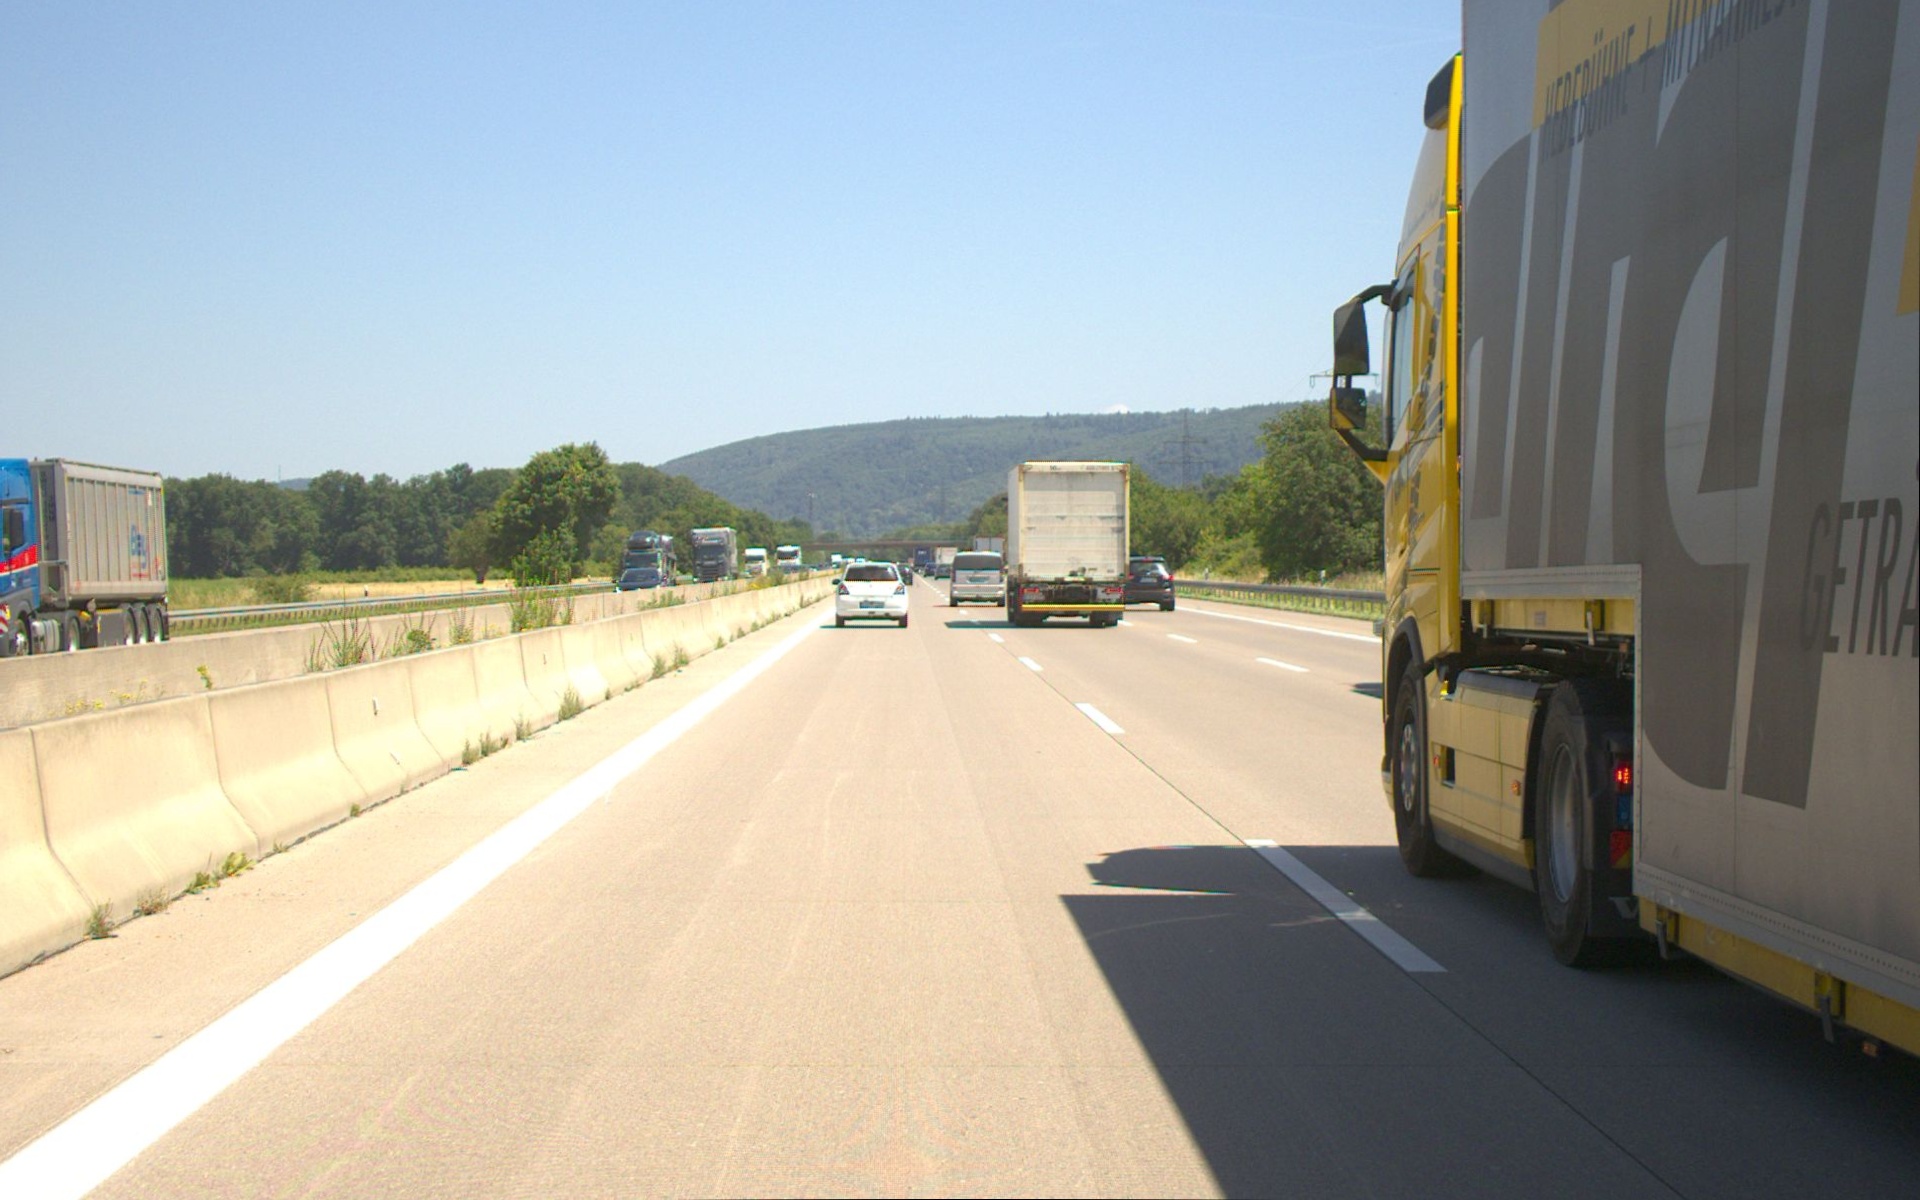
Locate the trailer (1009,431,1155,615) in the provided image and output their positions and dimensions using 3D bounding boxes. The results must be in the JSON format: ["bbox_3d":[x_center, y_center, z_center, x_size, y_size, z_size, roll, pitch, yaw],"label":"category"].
[{"bbox_3d":[2.666,-1.701,77.995,2.580,3.864,10.374,1,1,-2],"label":"trailer"}]

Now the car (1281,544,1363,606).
[{"bbox_3d":[11.435,-0.792,108.732,1.993,1.842,4.000,2,1,-1],"label":"car"}]

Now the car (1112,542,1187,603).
[{"bbox_3d":[6.002,-0.890,109.553,1.993,1.842,4.000,2,1,-1],"label":"car"}]

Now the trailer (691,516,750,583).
[{"bbox_3d":[-16.756,-3.505,241.352,3.267,4.460,14.452,-1,1,-1],"label":"trailer"}]

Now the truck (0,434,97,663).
[{"bbox_3d":[-18.431,-0.921,64.243,2.981,4.076,6.466,-1,1,-1],"label":"truck"}]

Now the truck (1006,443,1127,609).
[{"bbox_3d":[2.549,-1.777,83.294,2.580,3.864,4.985,1,1,-2],"label":"truck"}]

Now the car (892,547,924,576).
[{"bbox_3d":[-3.464,-2.542,228.104,1.993,1.842,4.000,2,1,-1],"label":"car"}]

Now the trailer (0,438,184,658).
[{"bbox_3d":[-18.516,-1.023,69.866,2.981,4.076,11.606,-1,1,-1],"label":"trailer"}]

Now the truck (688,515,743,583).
[{"bbox_3d":[-16.608,-3.455,234.144,3.267,4.460,7.190,-1,1,-1],"label":"truck"}]

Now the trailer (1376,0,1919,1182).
[{"bbox_3d":[3.202,-0.782,8.707,1.993,4.240,15.201,1,1,-2],"label":"trailer"}]

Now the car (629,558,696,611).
[{"bbox_3d":[-10.635,-0.571,123.207,1.993,1.856,5.467,1,1,-1],"label":"car"}]

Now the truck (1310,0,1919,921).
[{"bbox_3d":[2.993,-0.901,16.046,1.993,4.240,5.195,1,1,-2],"label":"truck"}]

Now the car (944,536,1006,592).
[{"bbox_3d":[0.494,-1.241,118.644,1.993,1.842,4.000,1,1,-1],"label":"car"}]

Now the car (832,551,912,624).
[{"bbox_3d":[-2.091,-0.314,80.648,1.819,1.656,4.000,0,1,-2],"label":"car"}]
